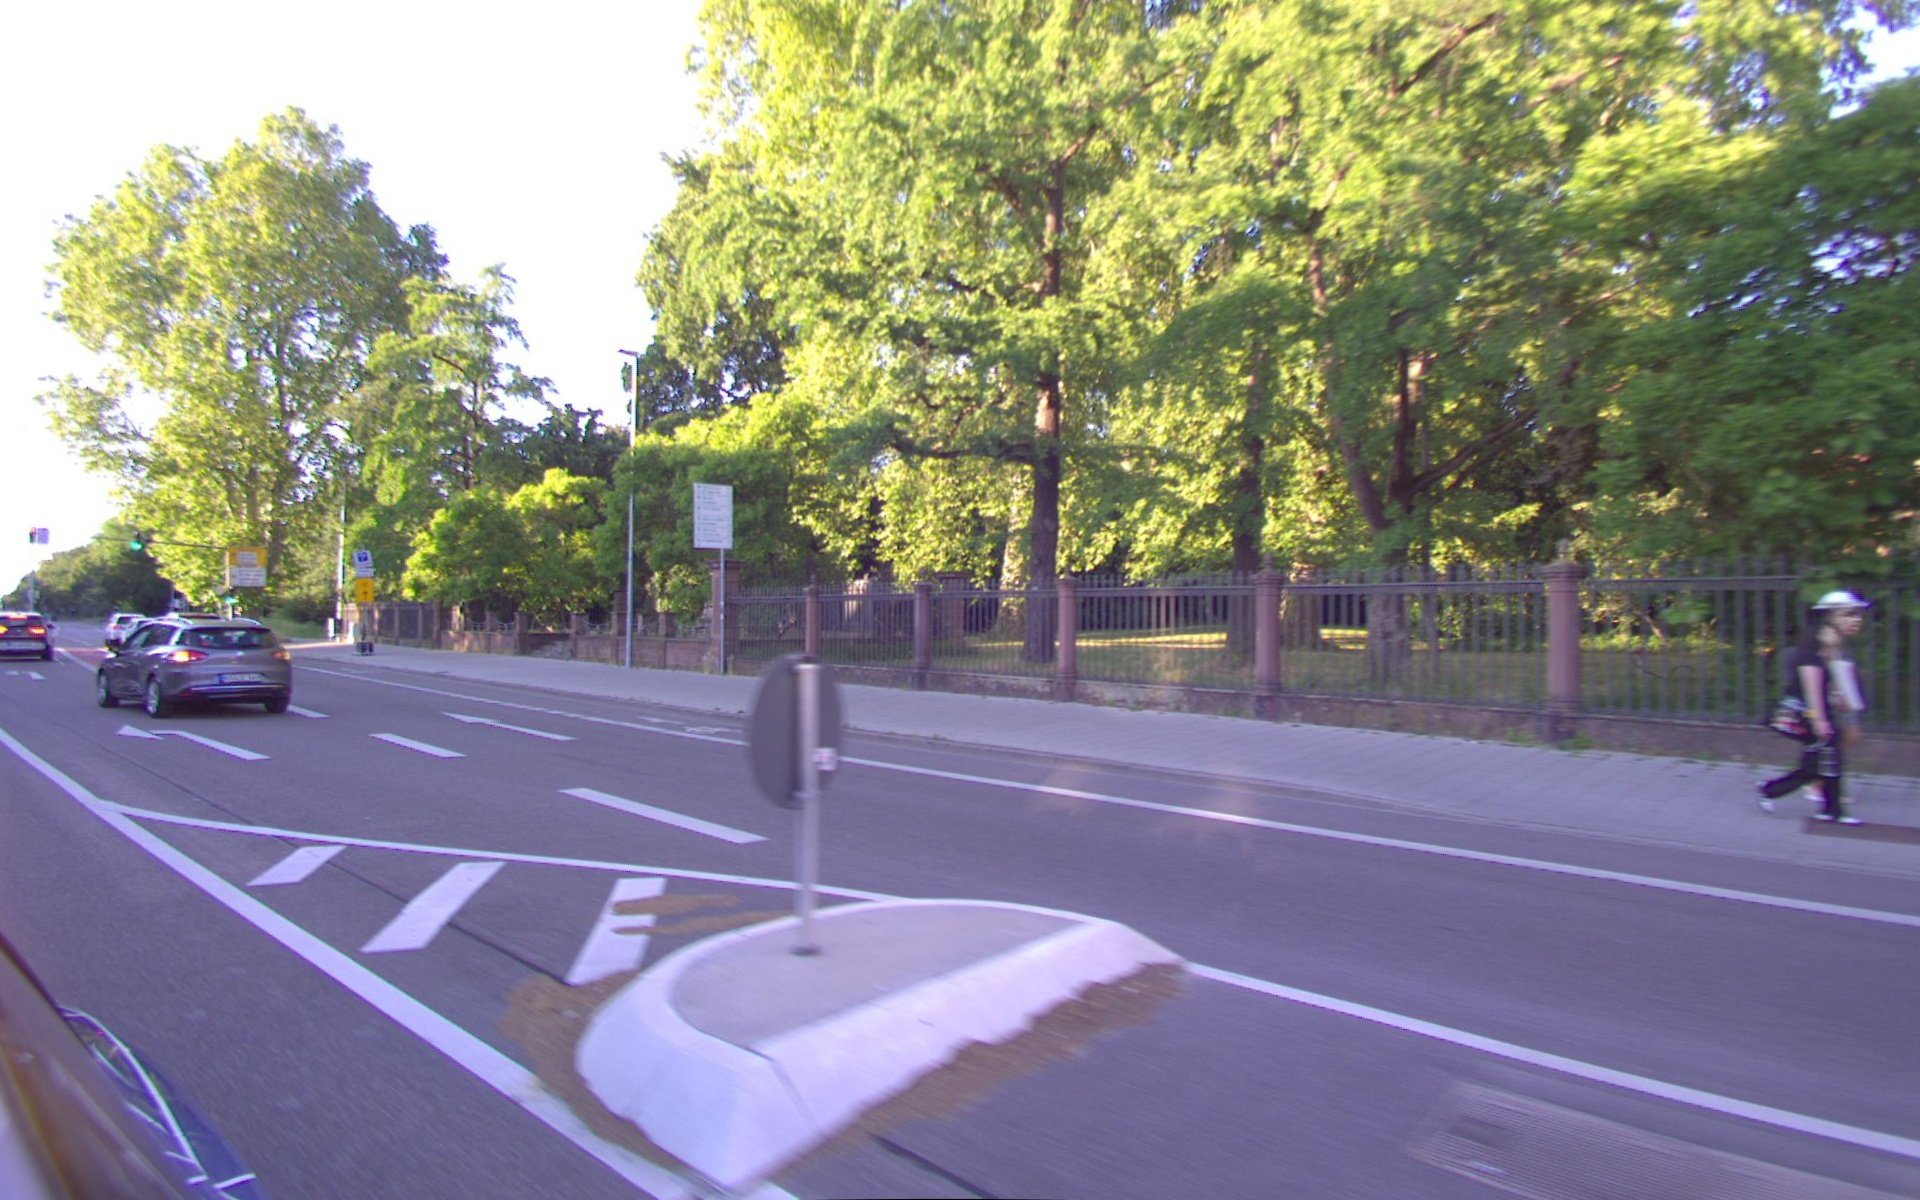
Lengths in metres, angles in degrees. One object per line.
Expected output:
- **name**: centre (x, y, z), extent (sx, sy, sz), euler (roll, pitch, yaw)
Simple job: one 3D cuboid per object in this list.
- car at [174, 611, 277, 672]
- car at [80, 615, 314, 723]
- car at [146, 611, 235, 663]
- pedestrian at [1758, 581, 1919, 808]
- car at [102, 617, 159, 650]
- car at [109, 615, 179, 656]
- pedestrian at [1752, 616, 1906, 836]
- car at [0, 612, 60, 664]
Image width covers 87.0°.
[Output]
- **car**: centre (-21.993, 1.181, 30.241), extent (1.894, 1.697, 4.002), euler (1, -1, -45)
- **car**: centre (-11.978, 1.007, 15.832), extent (3.991, 1.475, 1.756), euler (0, -3, 35)
- **car**: centre (-27.016, 1.258, 35.486), extent (1.970, 1.697, 4.002), euler (1, -1, -45)
- **pedestrian**: centre (7.399, 0.733, 8.417), extent (0.795, 1.751, 0.851), euler (-2, 1, -12)
- **car**: centre (-43.786, 1.740, 53.401), extent (1.970, 1.697, 4.002), euler (1, -1, -45)
- **car**: centre (-35.552, 1.518, 44.080), extent (1.970, 1.697, 4.002), euler (1, -1, -45)
- **pedestrian**: centre (6.602, 0.905, 7.698), extent (0.835, 1.524, 0.666), euler (-1, 2, 43)
- **car**: centre (-30.967, 1.209, 33.084), extent (3.894, 1.633, 1.878), euler (-1, -1, 42)
